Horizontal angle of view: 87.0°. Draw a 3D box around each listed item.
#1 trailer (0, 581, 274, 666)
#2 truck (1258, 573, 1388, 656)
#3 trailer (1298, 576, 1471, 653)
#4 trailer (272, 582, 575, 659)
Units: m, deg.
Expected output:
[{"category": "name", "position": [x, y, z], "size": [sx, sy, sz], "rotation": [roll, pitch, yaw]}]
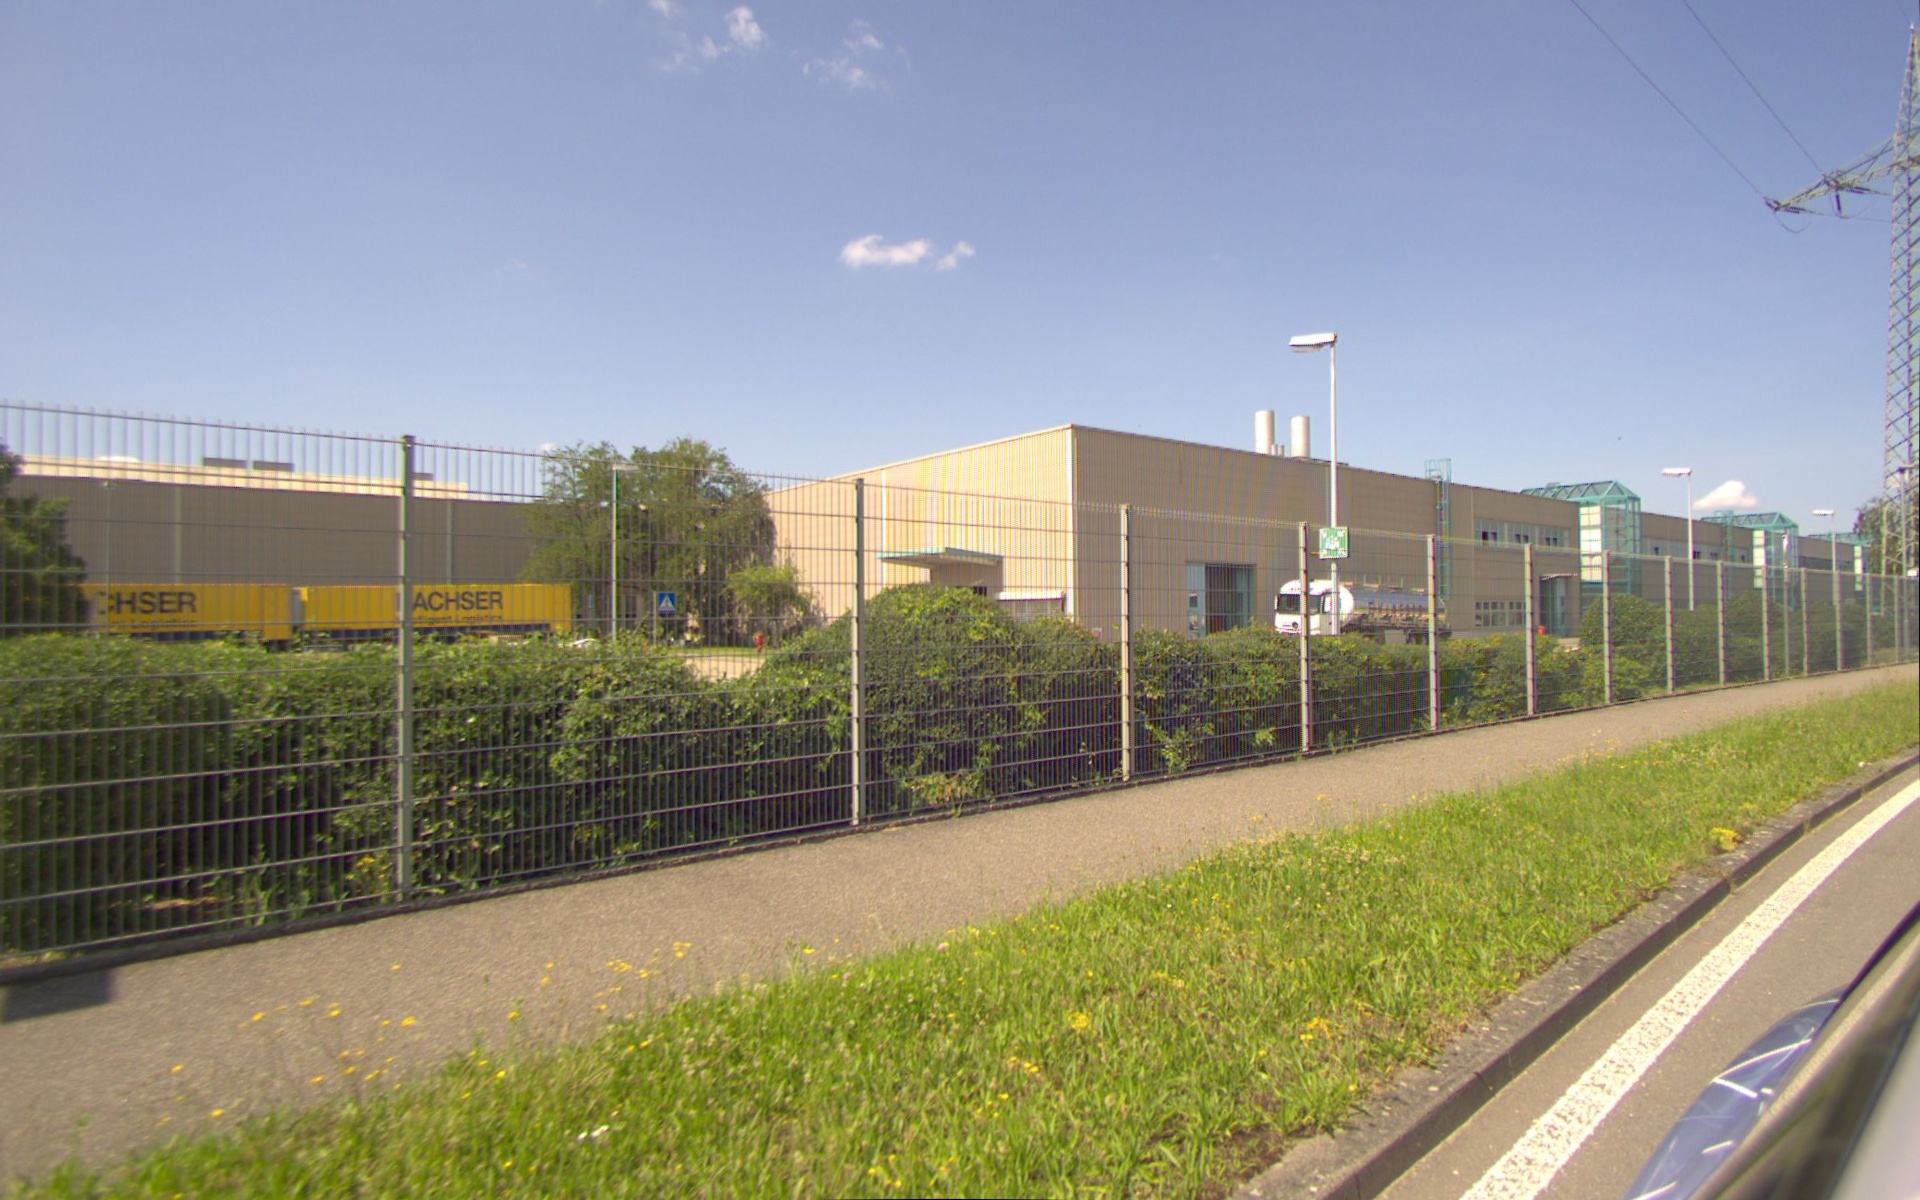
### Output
[{"category": "trailer", "position": [-40.550, 1.075, 48.576], "size": [12.517, 3.815, 2.925], "rotation": [0, -2, -37]}, {"category": "truck", "position": [18.389, 0.642, 51.144], "size": [6.297, 3.916, 3.599], "rotation": [0, 0, -41]}, {"category": "trailer", "position": [23.430, 0.722, 55.395], "size": [12.018, 3.783, 3.598], "rotation": [0, 0, -40]}, {"category": "trailer", "position": [-29.635, 1.042, 56.844], "size": [14.778, 3.891, 2.943], "rotation": [0, -2, -37]}]
